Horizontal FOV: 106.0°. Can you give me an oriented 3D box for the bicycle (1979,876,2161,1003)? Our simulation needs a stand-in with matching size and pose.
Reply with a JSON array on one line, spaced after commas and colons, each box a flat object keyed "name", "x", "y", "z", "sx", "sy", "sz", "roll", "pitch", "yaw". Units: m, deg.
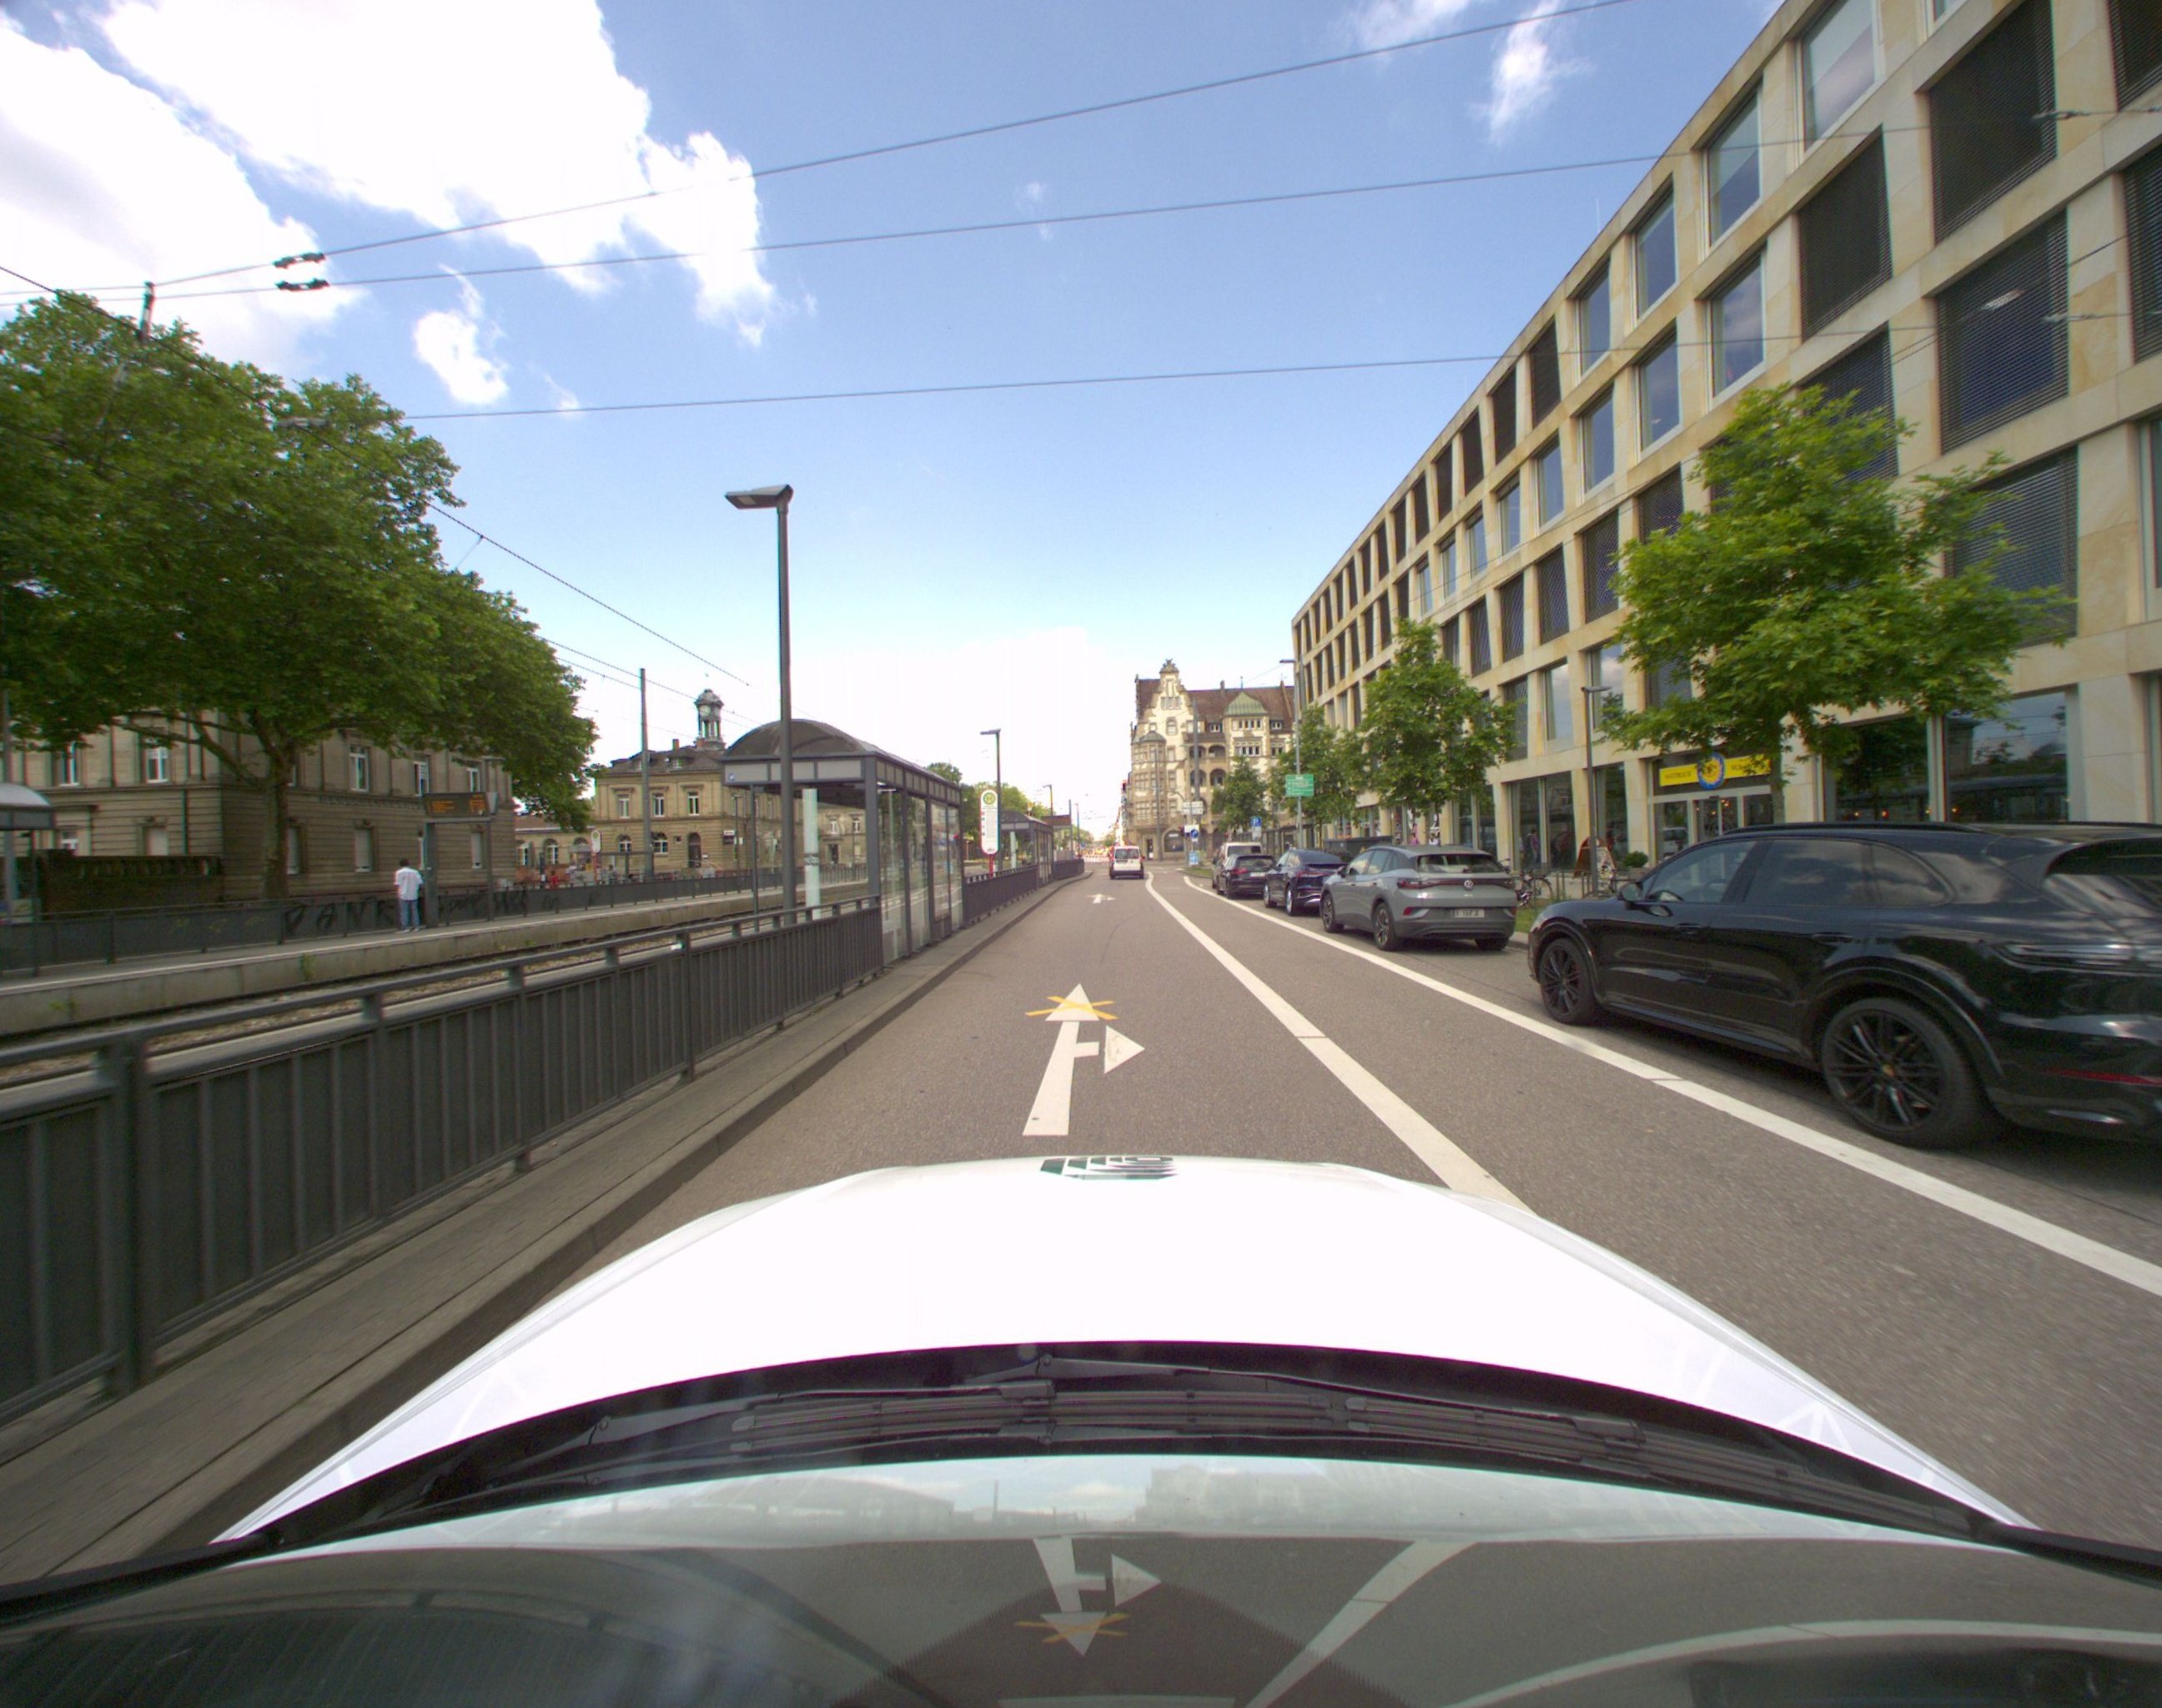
[{"name": "bicycle", "x": 9.178, "y": 0.740, "z": 7.215, "sx": 1.815, "sy": 1.030, "sz": 0.433, "roll": -2, "pitch": 0, "yaw": 4}]

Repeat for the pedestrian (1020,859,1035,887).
[{"name": "pedestrian", "x": -2.270, "y": 0.813, "z": 34.808, "sx": 0.511, "sy": 1.140, "sz": 0.501, "roll": -4, "pitch": 0, "yaw": 2}]

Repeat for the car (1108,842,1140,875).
[{"name": "car", "x": 2.669, "y": 0.264, "z": 51.344, "sx": 1.862, "sy": 2.020, "sz": 4.001, "roll": -1, "pitch": 0, "yaw": 1}]

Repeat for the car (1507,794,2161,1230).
[{"name": "car", "x": 5.013, "y": 0.589, "z": 5.535, "sx": 1.732, "sy": 1.669, "sz": 4.840, "roll": 0, "pitch": 0, "yaw": 0}]

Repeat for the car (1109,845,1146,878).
[{"name": "car", "x": 2.539, "y": 0.392, "z": 45.198, "sx": 1.862, "sy": 1.746, "sz": 4.001, "roll": -1, "pitch": 0, "yaw": 1}]

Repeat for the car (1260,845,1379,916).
[{"name": "car", "x": 5.778, "y": 0.578, "z": 20.258, "sx": 1.800, "sy": 1.591, "sz": 4.307, "roll": 0, "pitch": 0, "yaw": 1}]

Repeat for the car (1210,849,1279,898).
[{"name": "car", "x": 5.236, "y": 0.586, "z": 26.527, "sx": 1.438, "sy": 1.470, "sz": 4.092, "roll": 0, "pitch": 0, "yaw": 0}]

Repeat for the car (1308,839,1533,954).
[{"name": "car", "x": 5.380, "y": 0.573, "z": 13.714, "sx": 1.801, "sy": 1.591, "sz": 4.840, "roll": 0, "pitch": 0, "yaw": 0}]

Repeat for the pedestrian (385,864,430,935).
[{"name": "pedestrian", "x": -16.425, "y": 1.089, "z": 19.873, "sx": 0.498, "sy": 1.683, "sz": 0.643, "roll": -2, "pitch": 0, "yaw": 2}]

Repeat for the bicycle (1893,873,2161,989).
[{"name": "bicycle", "x": 9.270, "y": 0.741, "z": 8.031, "sx": 1.815, "sy": 1.030, "sz": 0.585, "roll": -2, "pitch": 0, "yaw": 5}]

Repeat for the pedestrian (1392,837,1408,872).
[{"name": "pedestrian", "x": 13.376, "y": 0.032, "z": 34.123, "sx": 0.437, "sy": 1.448, "sz": 0.434, "roll": -2, "pitch": 0, "yaw": 1}]

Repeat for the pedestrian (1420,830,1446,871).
[{"name": "pedestrian", "x": 14.751, "y": -0.132, "z": 34.179, "sx": 0.757, "sy": 1.670, "sz": 0.659, "roll": -2, "pitch": 0, "yaw": 1}]

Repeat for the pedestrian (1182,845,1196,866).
[{"name": "pedestrian", "x": 8.355, "y": 0.131, "z": 63.220, "sx": 0.807, "sy": 1.572, "sz": 0.626, "roll": -4, "pitch": 0, "yaw": -15}]

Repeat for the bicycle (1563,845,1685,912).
[{"name": "bicycle", "x": 9.404, "y": 0.416, "z": 14.116, "sx": 1.833, "sy": 1.030, "sz": 0.340, "roll": -4, "pitch": 0, "yaw": 0}]

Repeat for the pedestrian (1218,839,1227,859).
[{"name": "pedestrian", "x": 11.226, "y": -0.420, "z": 64.693, "sx": 0.532, "sy": 1.572, "sz": 0.542, "roll": -4, "pitch": 0, "yaw": 0}]

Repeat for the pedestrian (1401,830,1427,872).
[{"name": "pedestrian", "x": 13.982, "y": -0.128, "z": 34.188, "sx": 0.757, "sy": 1.723, "sz": 0.659, "roll": -2, "pitch": 0, "yaw": 1}]

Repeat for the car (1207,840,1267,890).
[{"name": "car", "x": 5.958, "y": 0.387, "z": 31.414, "sx": 1.704, "sy": 1.796, "sz": 3.361, "roll": 0, "pitch": 0, "yaw": 0}]
